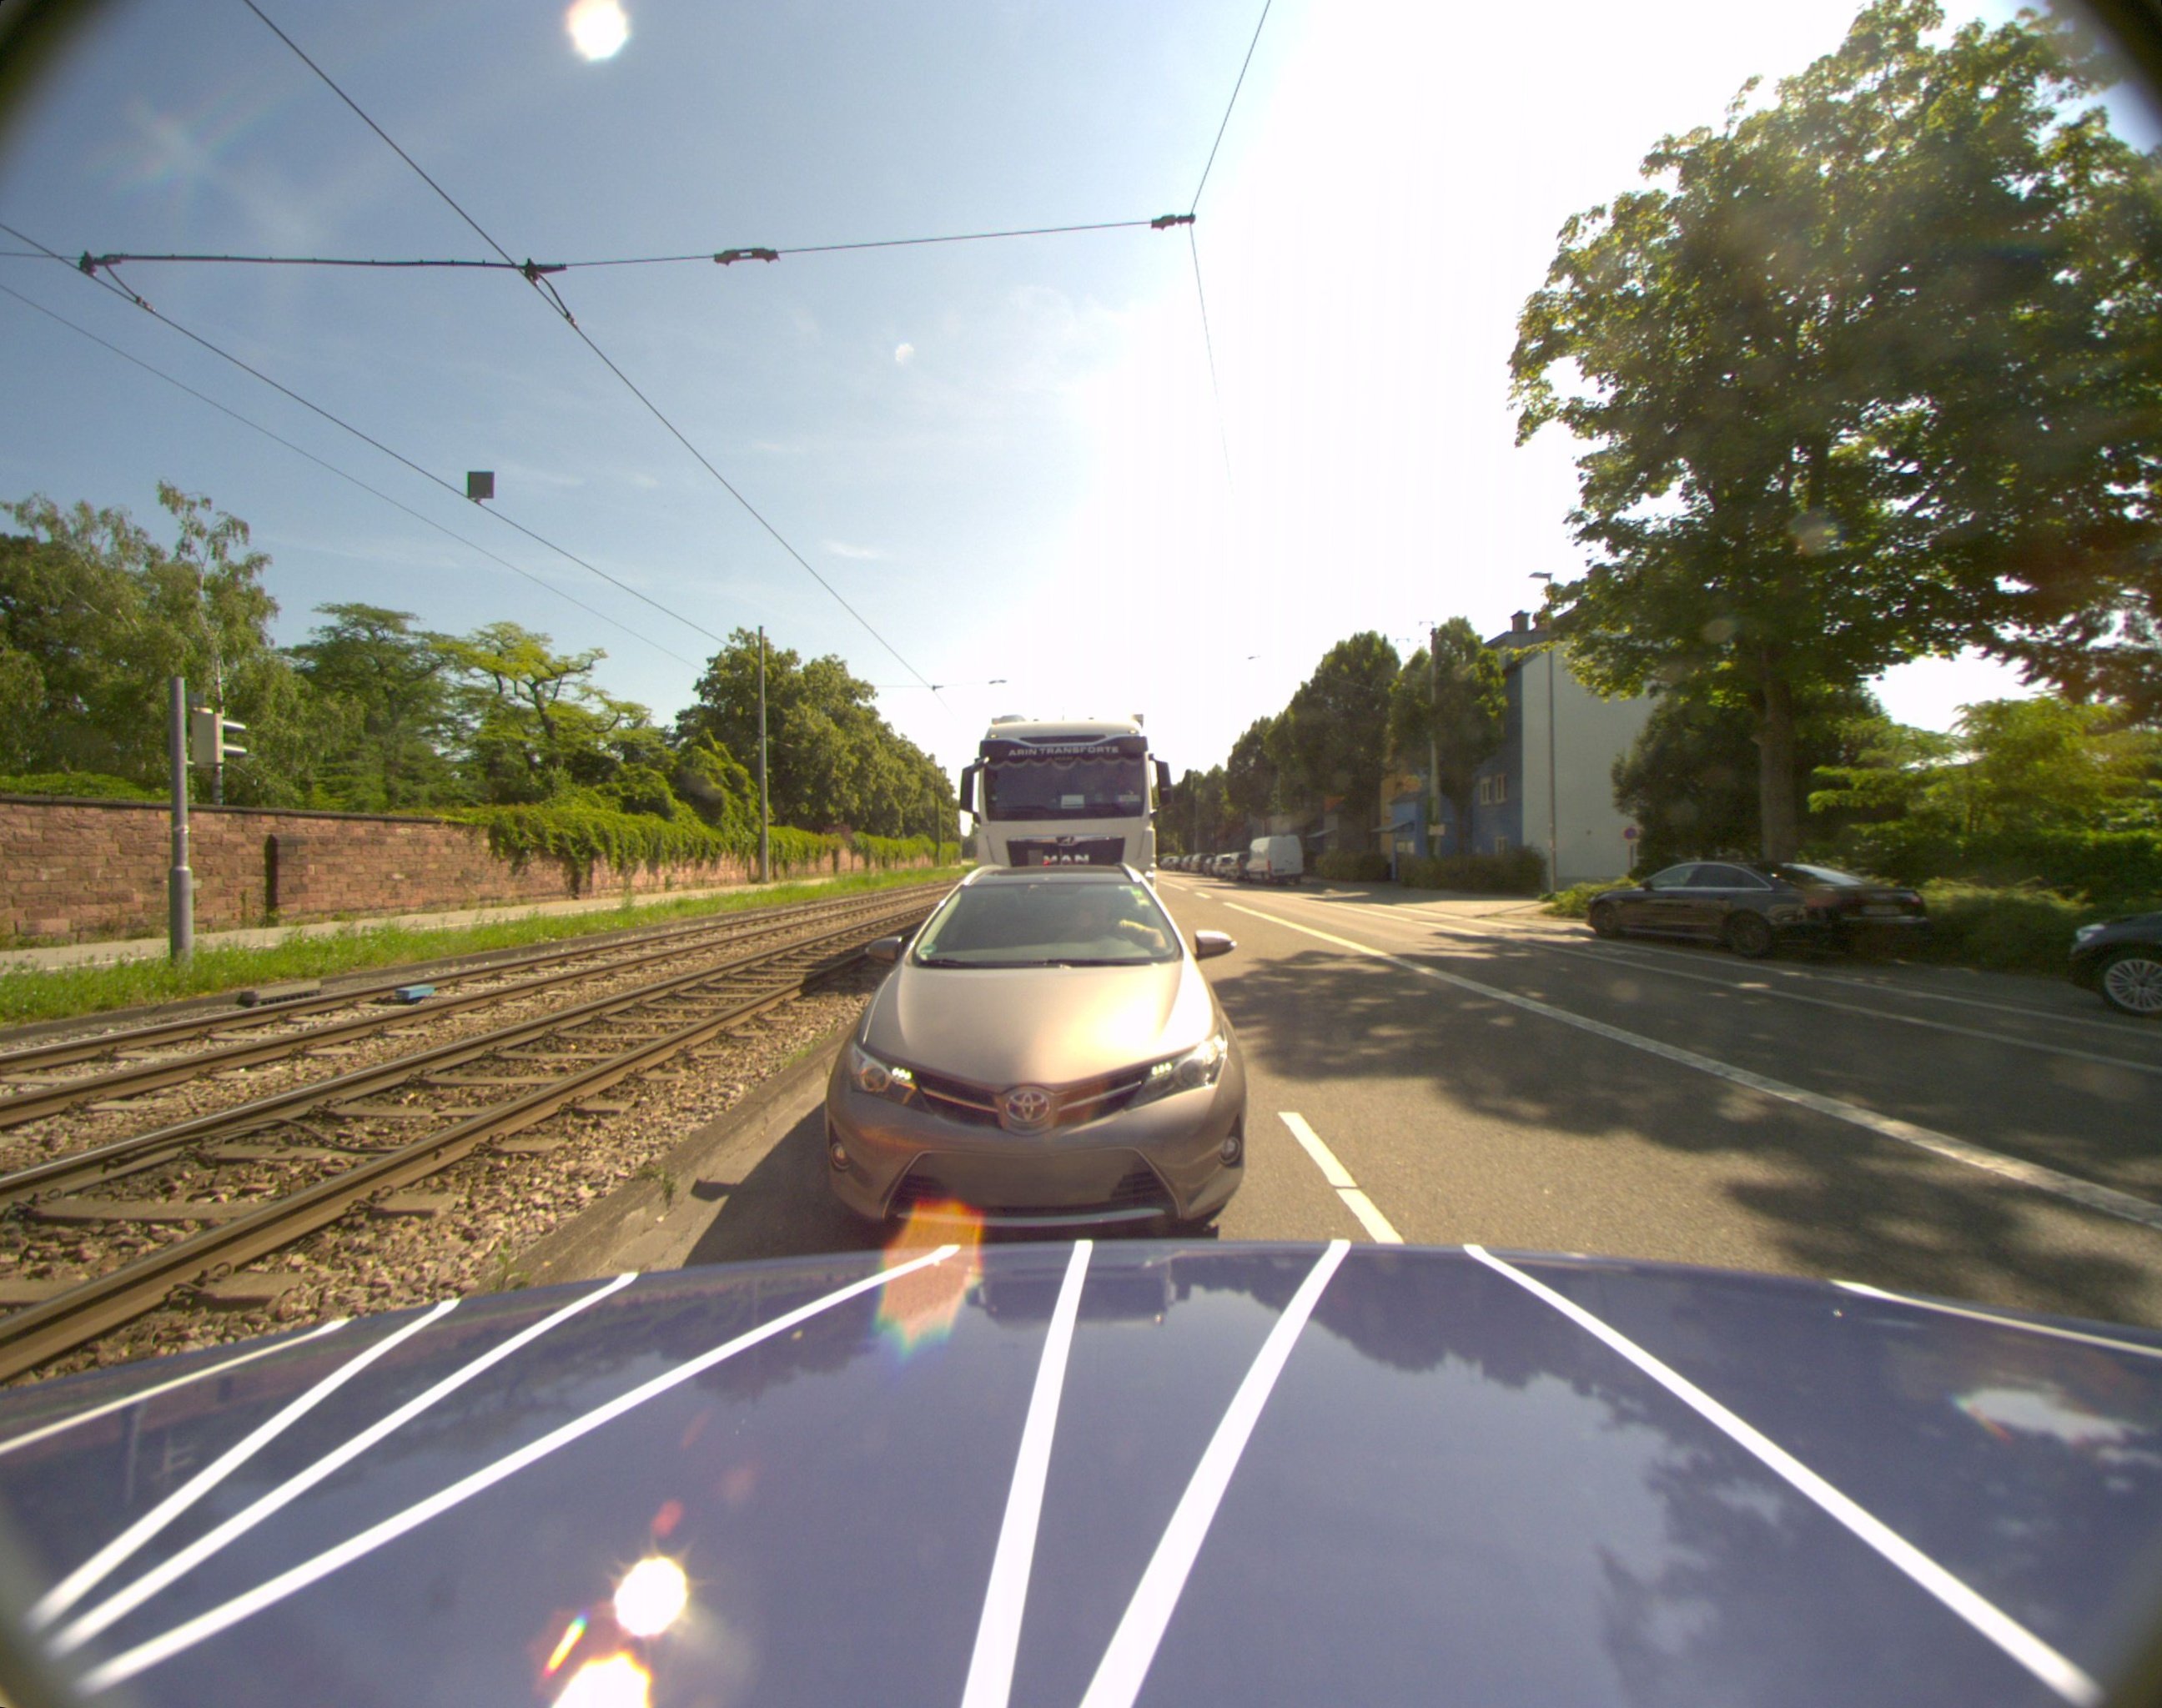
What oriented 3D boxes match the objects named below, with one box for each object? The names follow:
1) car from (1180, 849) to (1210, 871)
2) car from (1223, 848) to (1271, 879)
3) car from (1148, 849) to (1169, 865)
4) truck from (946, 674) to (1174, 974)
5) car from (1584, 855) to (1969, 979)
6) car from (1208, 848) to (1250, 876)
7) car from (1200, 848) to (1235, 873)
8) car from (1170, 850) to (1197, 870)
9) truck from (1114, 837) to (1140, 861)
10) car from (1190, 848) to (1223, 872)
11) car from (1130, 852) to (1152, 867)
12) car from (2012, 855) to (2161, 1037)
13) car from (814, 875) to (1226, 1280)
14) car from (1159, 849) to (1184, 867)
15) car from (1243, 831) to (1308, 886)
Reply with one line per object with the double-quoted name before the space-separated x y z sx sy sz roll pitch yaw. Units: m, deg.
"car" 10.963 0.547 73.375 1.998 1.795 4.769 -6 0 0
"car" 11.151 0.622 51.444 1.998 1.795 4.769 -6 0 0
"car" 9.821 0.390 96.821 1.998 1.795 4.769 -6 0 0
"truck" -0.176 -0.407 17.248 2.935 3.856 14.912 0 0 1
"car" 10.548 0.823 12.157 1.868 1.562 4.621 -1 0 -2
"car" 11.110 0.562 57.341 1.998 1.795 4.769 -6 0 0
"car" 11.235 0.514 62.860 1.998 1.795 4.256 -6 0 0
"car" 10.588 0.613 79.165 1.998 1.795 4.769 -6 0 0
"truck" 7.006 -0.706 116.105 2.704 3.263 6.724 -6 0 -5
"car" 11.120 0.506 67.671 1.998 1.795 4.769 -6 0 0
"car" 8.298 0.769 105.567 1.999 1.795 5.111 -6 0 -4
"car" 10.591 0.825 5.568 1.868 1.562 4.621 -2 0 0
"car" -0.208 0.912 4.904 1.573 1.422 4.000 0 0 1
"car" 10.189 0.462 85.908 1.998 1.795 4.769 -6 0 0
"car" 10.922 0.240 43.148 1.998 2.678 6.214 -6 0 2
